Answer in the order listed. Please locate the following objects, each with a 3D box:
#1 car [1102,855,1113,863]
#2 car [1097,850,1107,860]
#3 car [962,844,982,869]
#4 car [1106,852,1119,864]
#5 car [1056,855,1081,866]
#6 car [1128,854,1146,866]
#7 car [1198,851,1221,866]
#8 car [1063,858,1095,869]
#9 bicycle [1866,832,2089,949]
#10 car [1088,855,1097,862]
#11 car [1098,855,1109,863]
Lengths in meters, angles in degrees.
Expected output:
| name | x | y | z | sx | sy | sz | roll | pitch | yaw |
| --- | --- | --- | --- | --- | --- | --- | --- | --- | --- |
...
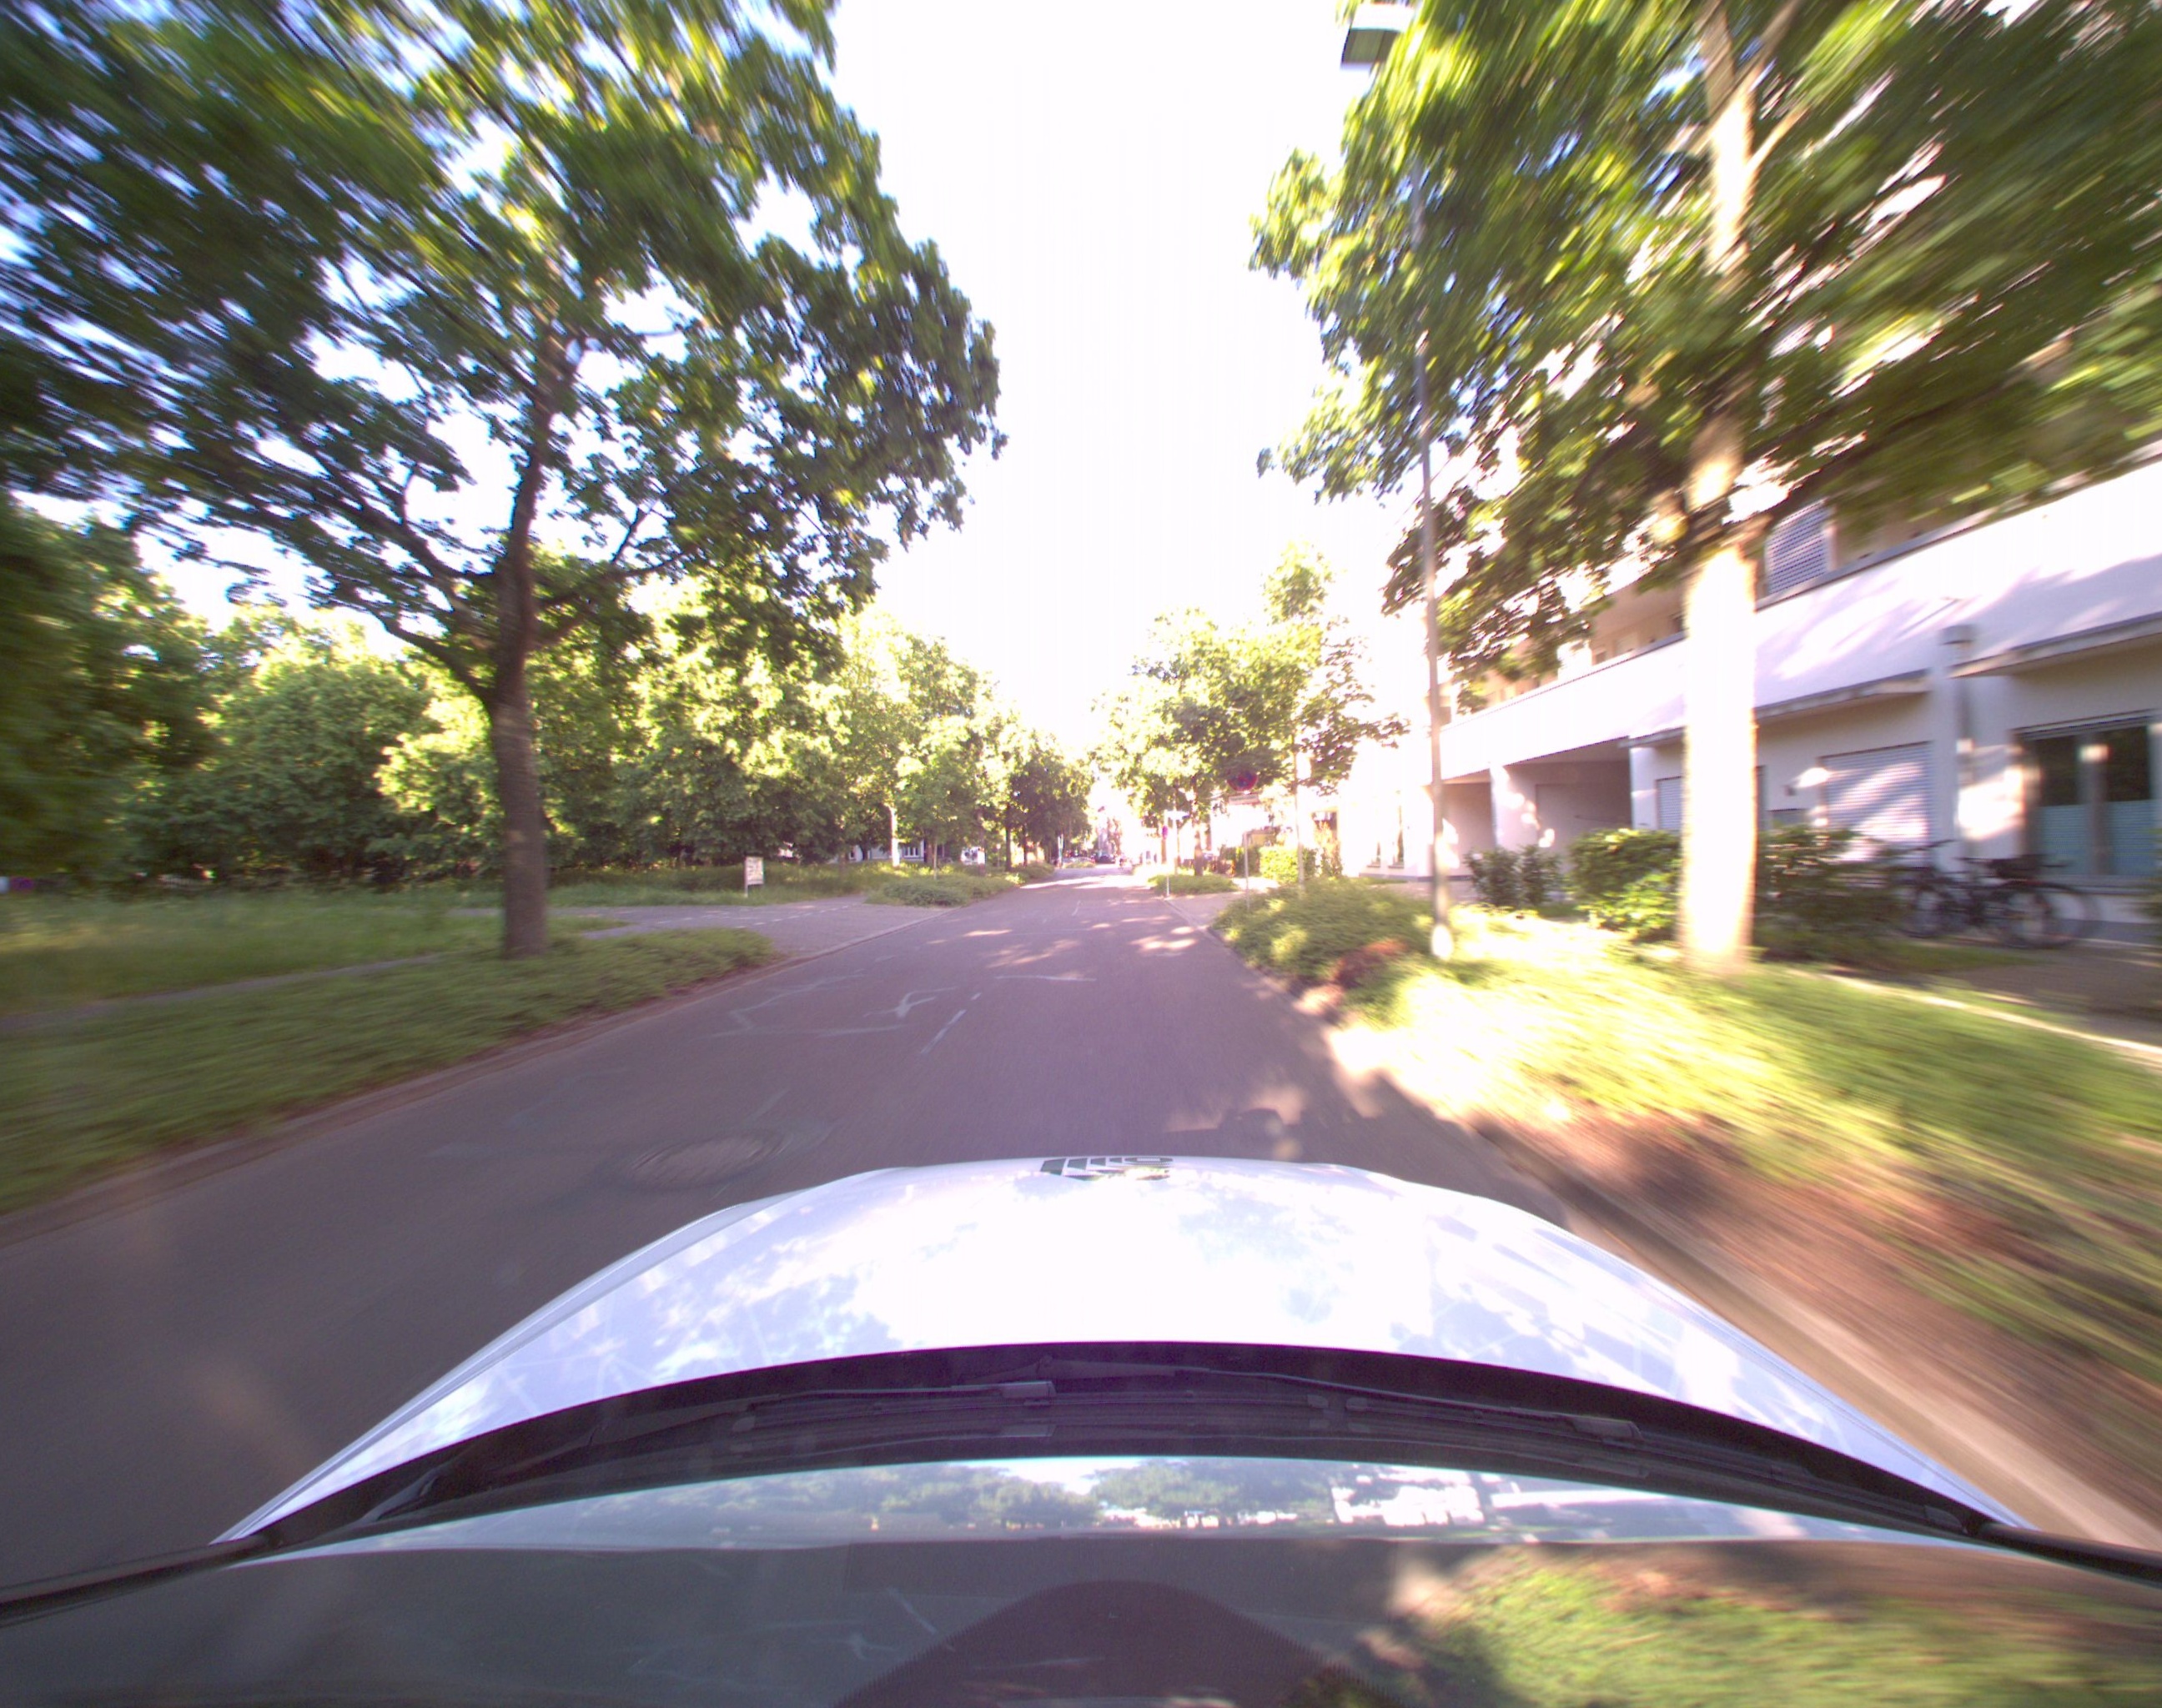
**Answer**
| name | x | y | z | sx | sy | sz | roll | pitch | yaw |
| --- | --- | --- | --- | --- | --- | --- | --- | --- | --- |
| car | 4.746 | 0.858 | 145.011 | 1.806 | 1.501 | 3.997 | 0 | 0 | -2 |
| car | 4.235 | 0.168 | 161.777 | 1.806 | 2.050 | 3.997 | 0 | 0 | -2 |
| car | -11.320 | 0.271 | 85.070 | 1.991 | 2.508 | 3.990 | 0 | 0 | -7 |
| car | 5.287 | 0.612 | 136.856 | 1.806 | 1.925 | 3.997 | 0 | 0 | -2 |
| car | -1.820 | 0.909 | 118.558 | 3.583 | 1.510 | 1.497 | 0 | 0 | -6 |
| car | 7.391 | 0.730 | 108.128 | 1.809 | 1.501 | 3.992 | -2 | 0 | -5 |
| car | 13.866 | 0.502 | 88.063 | 1.986 | 1.585 | 3.641 | 0 | 0 | 1 |
| car | -0.305 | 1.218 | 106.238 | 3.982 | 1.501 | 1.813 | 0 | 0 | -6 |
| bicycle | 10.023 | 0.378 | 9.217 | 0.615 | 1.191 | 1.754 | 0 | 0 | 2 |
| car | 2.566 | 1.042 | 178.795 | 1.806 | 1.501 | 3.997 | 0 | 0 | -2 |
| car | 4.121 | 0.901 | 151.755 | 1.806 | 1.501 | 3.997 | 0 | 0 | -2 |
